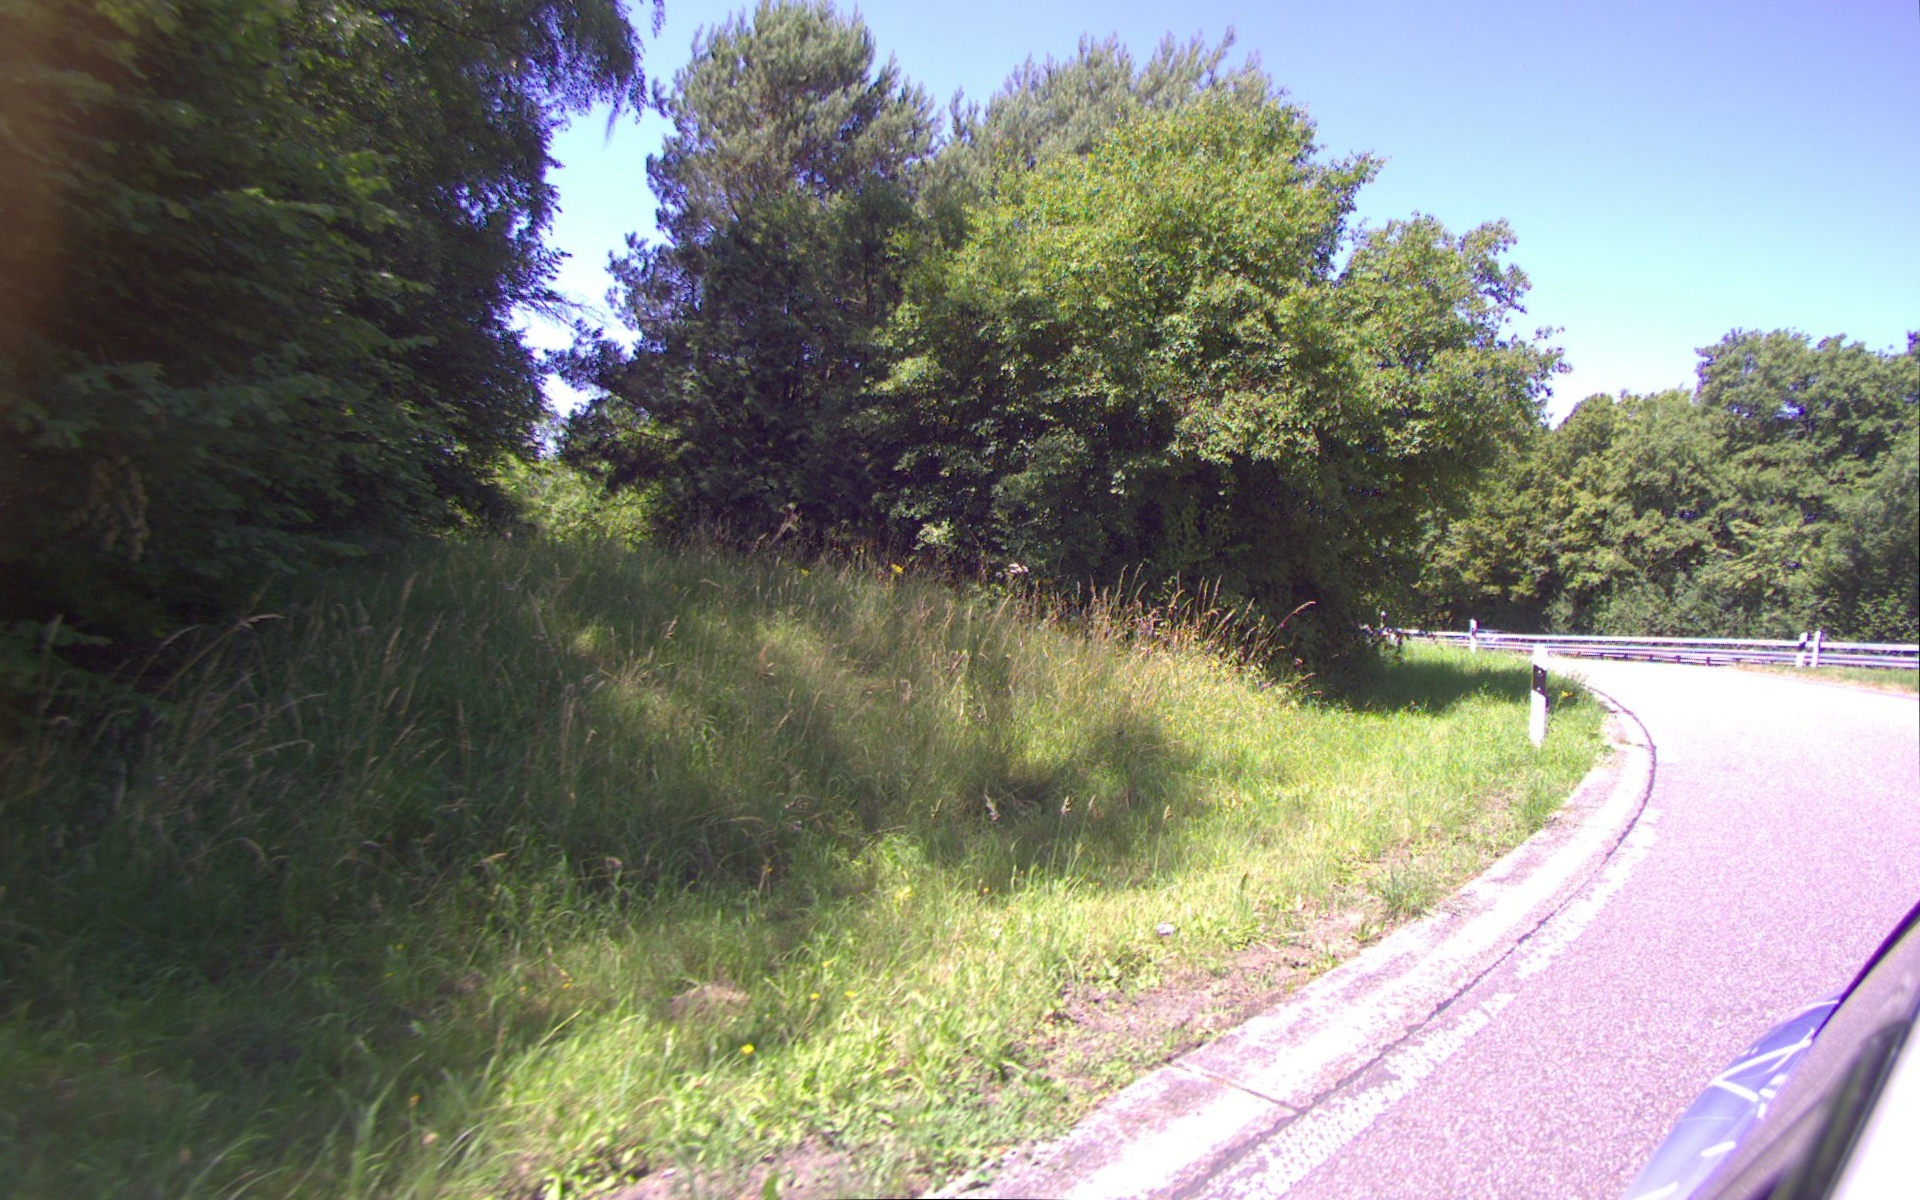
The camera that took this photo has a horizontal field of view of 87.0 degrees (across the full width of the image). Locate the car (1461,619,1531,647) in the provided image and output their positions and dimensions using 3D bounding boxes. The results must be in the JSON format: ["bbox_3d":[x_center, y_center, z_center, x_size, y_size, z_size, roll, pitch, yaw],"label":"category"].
[{"bbox_3d":[30.871,1.885,58.429,1.415,1.398,3.855,5,-1,-10],"label":"car"}]
